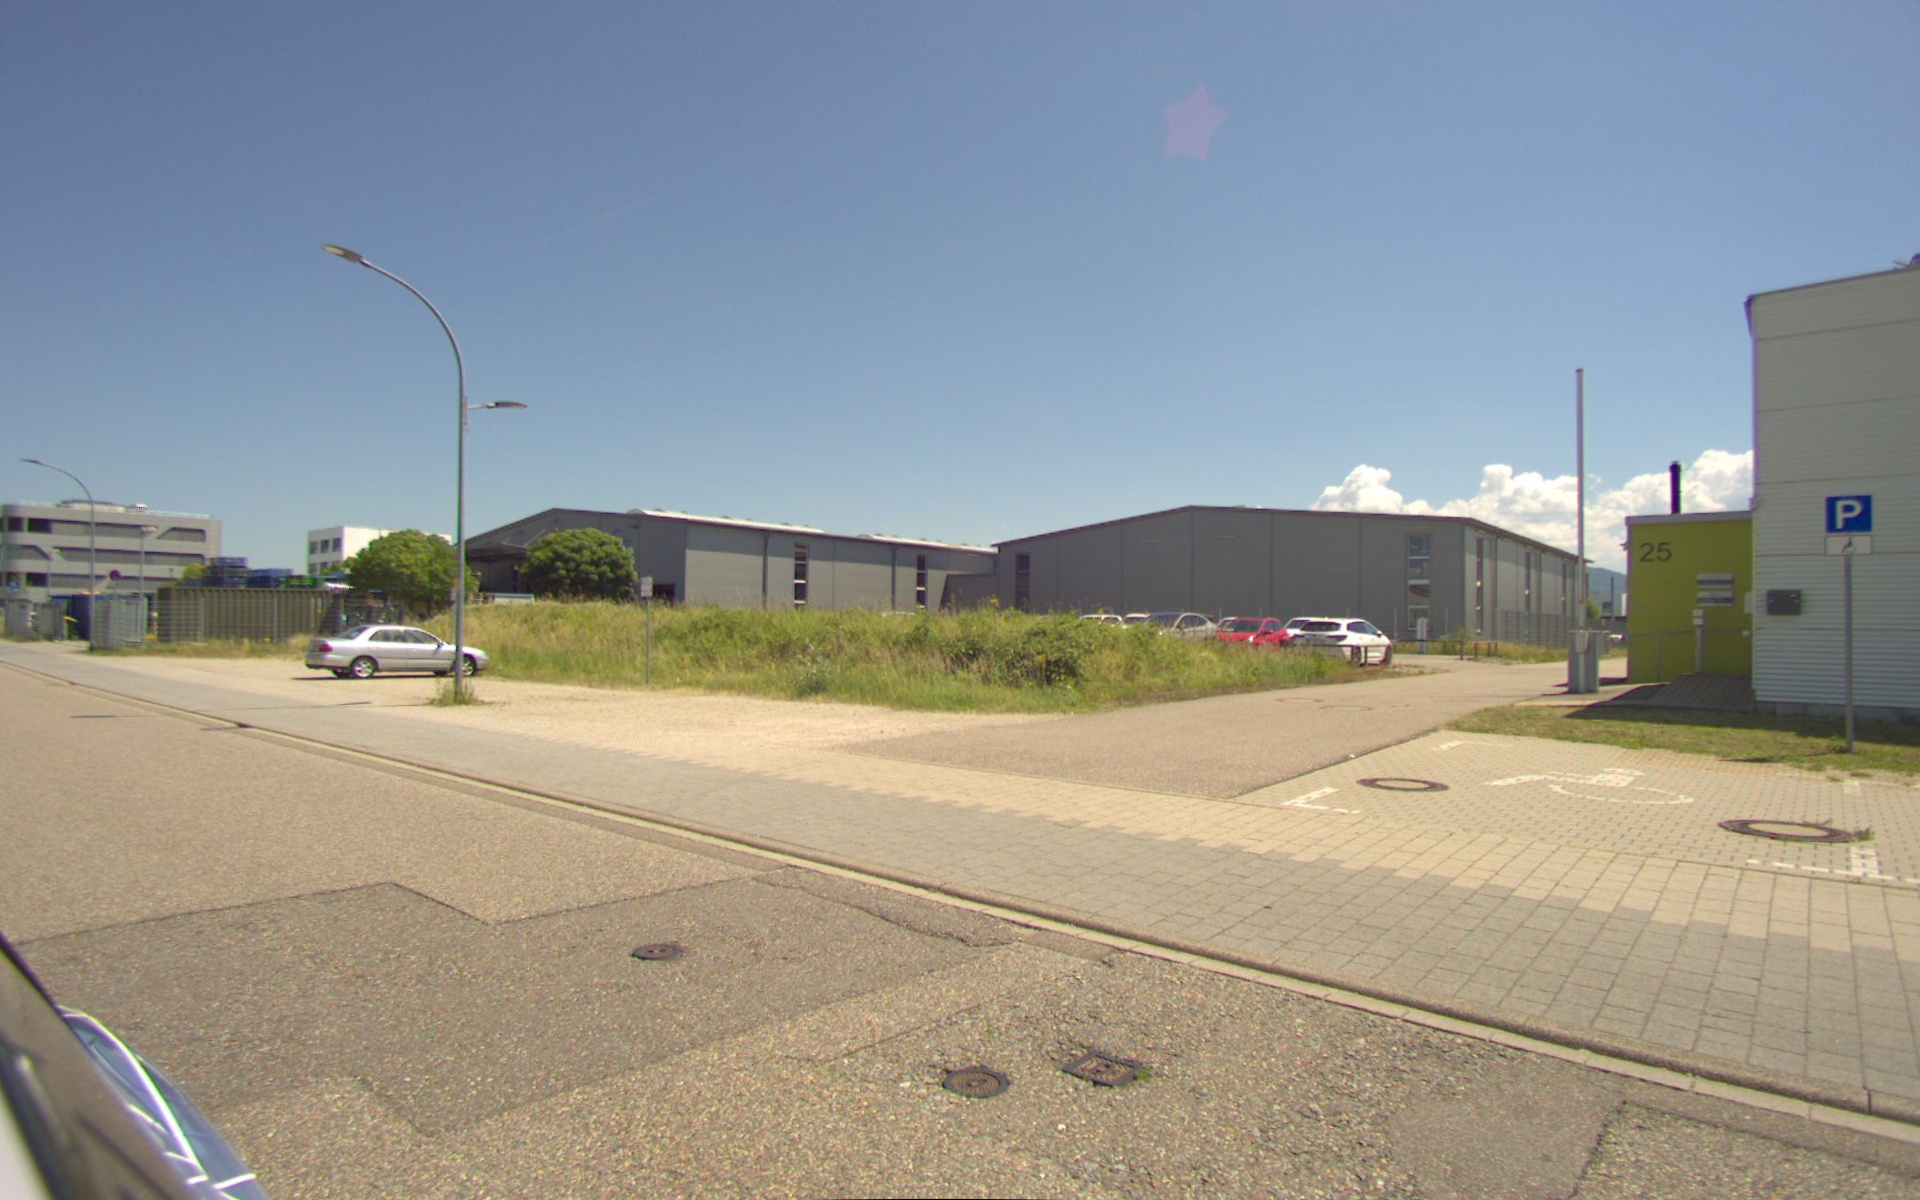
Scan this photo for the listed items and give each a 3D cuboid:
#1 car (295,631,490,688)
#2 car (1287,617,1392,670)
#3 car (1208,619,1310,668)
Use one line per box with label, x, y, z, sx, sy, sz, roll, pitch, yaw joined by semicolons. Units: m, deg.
car;-15.184;1.567;27.238;1.862;1.390;4.201;-1;-3;42
car;11.406;1.242;30.309;1.737;1.408;3.839;-1;0;41
car;9.699;1.353;32.678;1.737;1.408;3.839;-1;0;41
